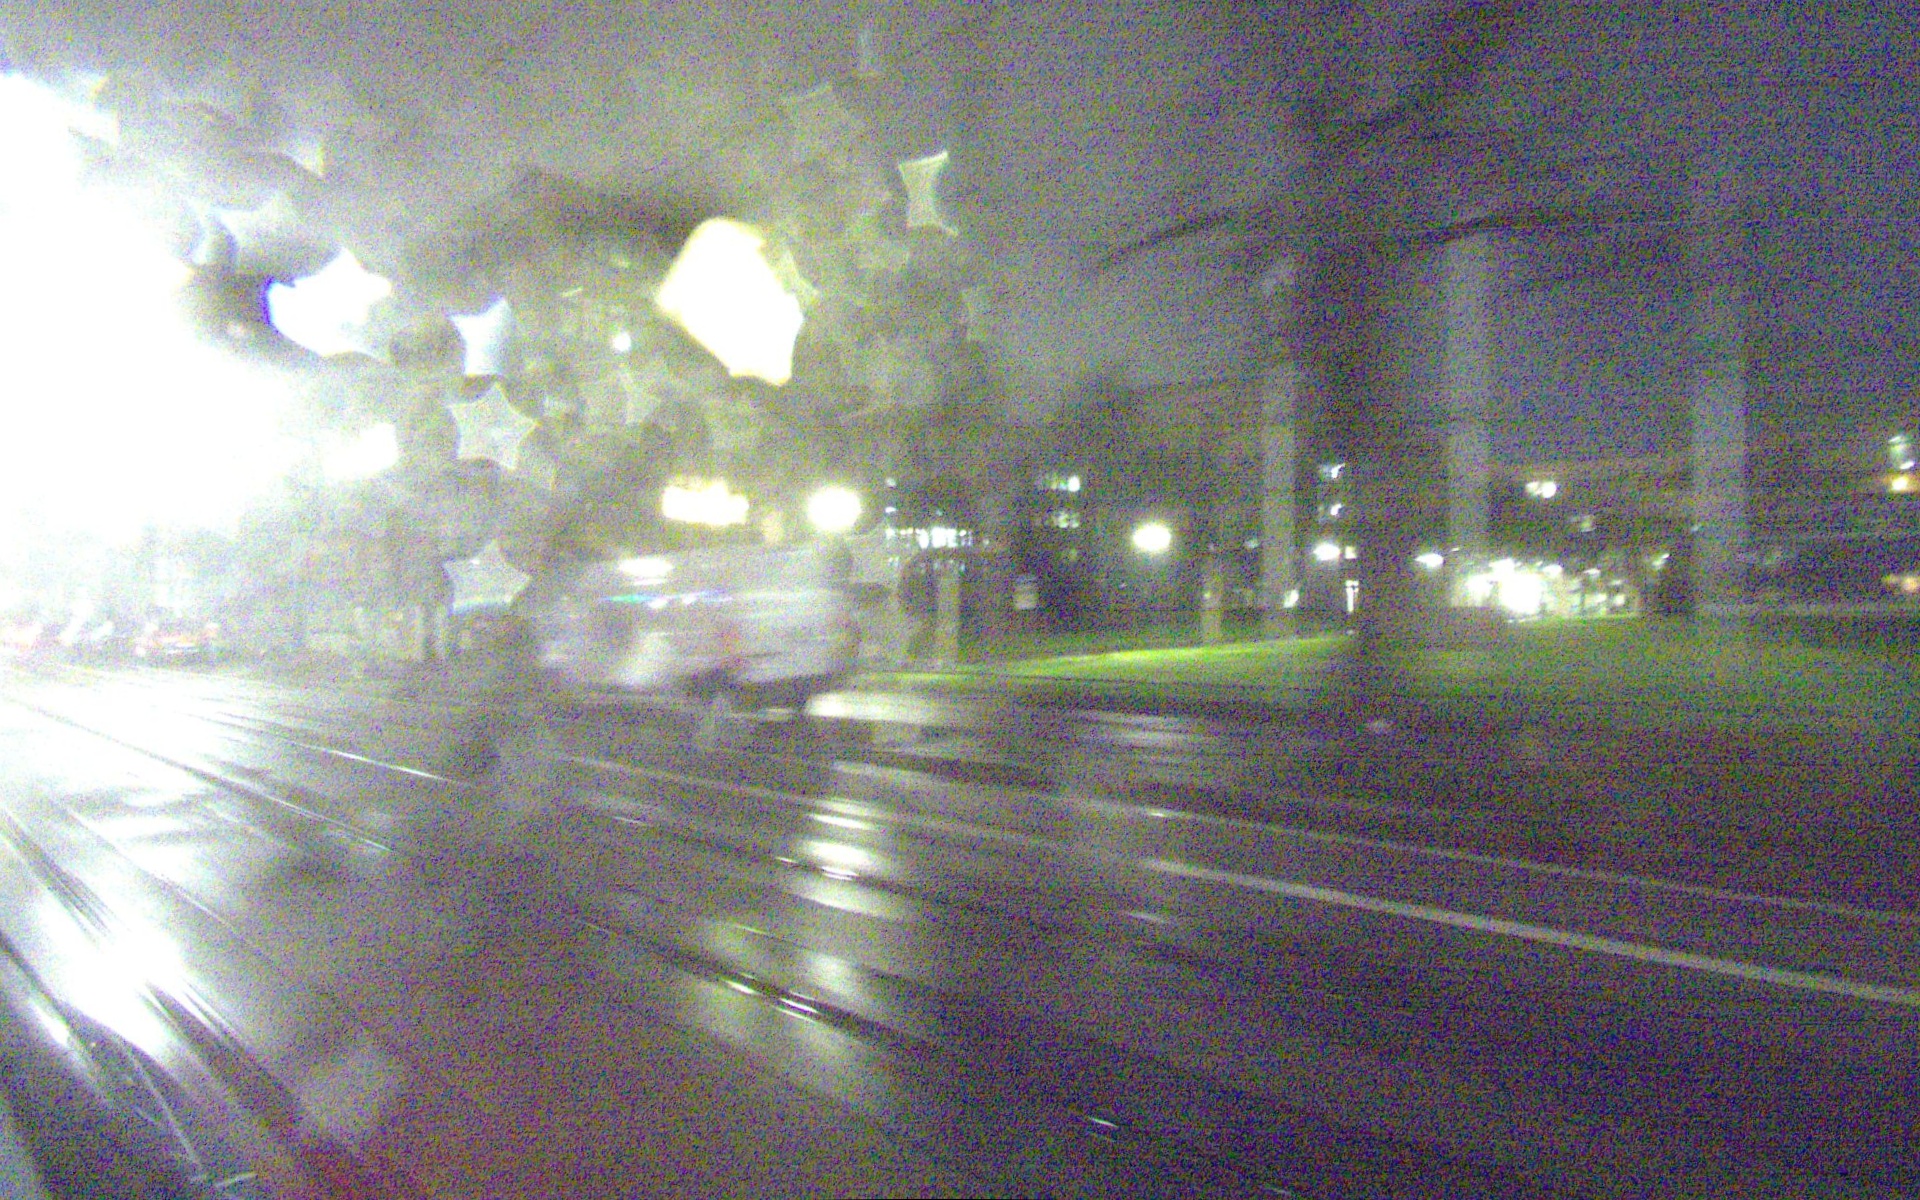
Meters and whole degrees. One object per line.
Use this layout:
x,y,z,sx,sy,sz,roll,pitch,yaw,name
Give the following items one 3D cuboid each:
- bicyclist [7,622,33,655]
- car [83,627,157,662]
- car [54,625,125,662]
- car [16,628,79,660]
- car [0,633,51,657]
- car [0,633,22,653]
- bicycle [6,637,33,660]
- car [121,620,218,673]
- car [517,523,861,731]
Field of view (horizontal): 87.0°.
-47.654,1.948,51.299,1.205,1.668,0.774,-1,-3,41,bicyclist
-36.036,1.895,43.375,3.909,1.432,1.674,-2,-2,38,car
-41.597,2.018,48.345,4.515,1.643,1.963,-1,-1,41,car
-51.649,2.463,57.265,4.394,1.556,1.862,-1,2,39,car
-60.869,2.906,65.642,4.951,1.474,1.870,-1,-2,37,car
-68.797,3.065,72.435,4.203,1.434,1.822,-1,-2,38,car
-47.665,2.444,51.279,1.917,1.090,0.774,-1,-3,42,bicycle
-27.964,1.573,35.765,4.600,1.668,1.948,-1,1,43,car
-4.455,0.424,15.707,6.393,2.611,2.161,-2,-2,44,car
